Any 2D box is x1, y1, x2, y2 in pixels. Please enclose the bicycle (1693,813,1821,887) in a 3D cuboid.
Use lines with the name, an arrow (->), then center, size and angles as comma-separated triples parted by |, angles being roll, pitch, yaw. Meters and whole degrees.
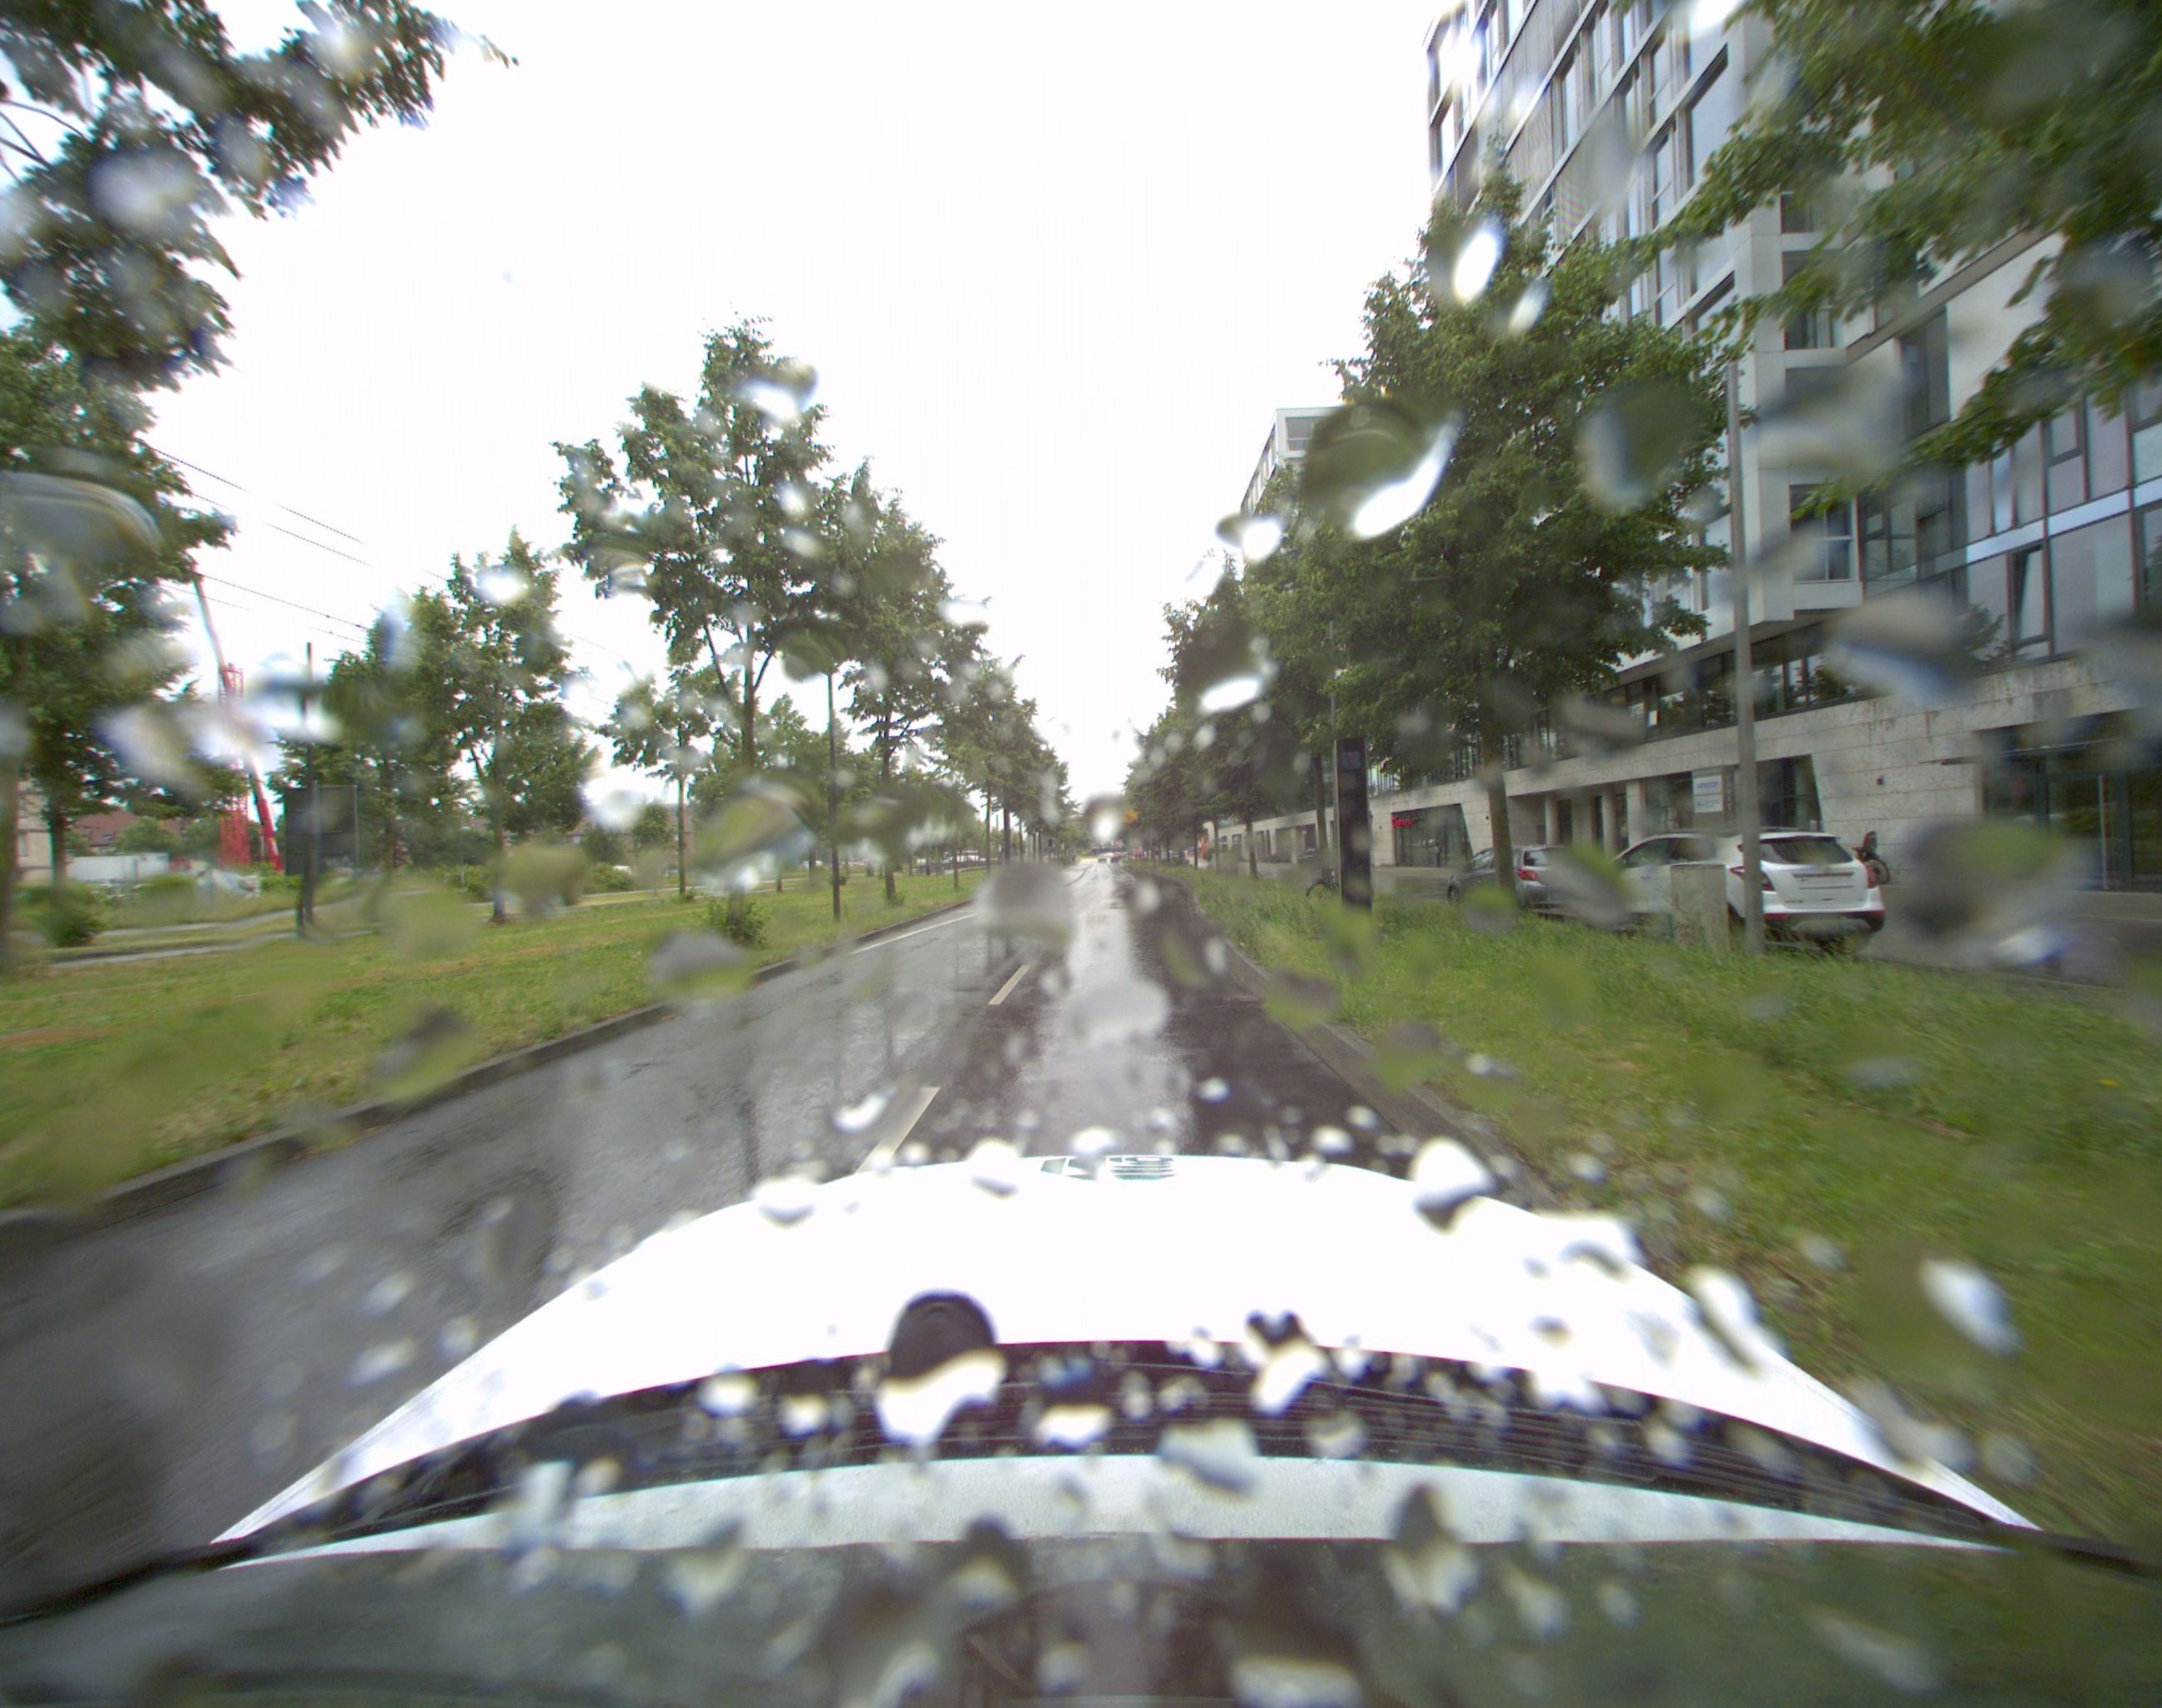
bicycle -> 18.181, -0.112, 21.940 | 2.666, 1.860, 0.708 | -2, 0, 5

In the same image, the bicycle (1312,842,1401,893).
bicycle -> 6.861, 0.330, 20.344 | 2.028, 1.196, 0.491 | -2, -1, 1

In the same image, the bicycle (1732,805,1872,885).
bicycle -> 18.017, -0.224, 20.398 | 2.666, 1.860, 0.708 | -2, 0, 5

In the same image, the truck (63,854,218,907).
truck -> -113.371, 2.973, 98.768 | 6.202, 5.394, 13.226 | -3, 2, -19

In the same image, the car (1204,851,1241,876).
car -> 9.983, 0.626, 57.718 | 1.874, 1.505, 4.726 | -2, 2, 1

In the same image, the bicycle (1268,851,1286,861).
bicycle -> 20.126, 0.200, 83.644 | 1.799, 1.028, 0.541 | -2, -1, 3

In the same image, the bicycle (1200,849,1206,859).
bicycle -> 20.869, -0.055, 139.735 | 0.664, 1.534, 2.765 | -2, 2, 1

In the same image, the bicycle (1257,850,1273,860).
bicycle -> 20.153, 0.147, 89.166 | 1.686, 1.028, 0.423 | -2, -1, 3

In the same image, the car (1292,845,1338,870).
car -> 16.863, 0.223, 58.850 | 1.985, 1.501, 5.039 | -7, 1, 3

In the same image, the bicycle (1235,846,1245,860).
bicycle -> 20.825, -0.163, 106.752 | 0.769, 1.722, 3.121 | -2, 2, 1

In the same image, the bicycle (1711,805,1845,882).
bicycle -> 18.076, -0.260, 21.164 | 2.666, 1.860, 0.708 | -2, 0, 5

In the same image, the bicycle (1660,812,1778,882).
bicycle -> 18.364, -0.199, 23.470 | 2.666, 1.860, 0.708 | -2, 0, 5

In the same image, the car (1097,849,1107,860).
car -> 4.501, 0.128, 173.635 | 1.881, 2.013, 4.002 | -2, 2, 2

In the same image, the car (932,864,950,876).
car -> -18.084, 2.003, 105.422 | 1.544, 1.266, 4.851 | -2, 1, -1

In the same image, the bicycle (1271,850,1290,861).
bicycle -> 20.157, 0.183, 82.364 | 1.799, 1.028, 0.402 | -2, -1, 3

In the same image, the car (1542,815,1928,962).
car -> 9.094, 0.321, 12.009 | 1.986, 1.669, 4.726 | -2, 2, 1

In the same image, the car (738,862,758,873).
car -> -65.777, 2.674, 160.905 | 1.987, 2.013, 4.001 | -2, 2, 1

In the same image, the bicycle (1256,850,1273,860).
bicycle -> 20.182, 0.151, 89.649 | 1.686, 1.028, 0.423 | -2, -1, 3

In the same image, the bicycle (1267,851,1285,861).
bicycle -> 20.172, 0.203, 84.251 | 1.799, 1.028, 0.541 | -2, -1, 3

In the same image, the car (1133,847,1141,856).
car -> 14.026, -0.604, 204.776 | 1.985, 2.013, 4.003 | -2, 2, 2

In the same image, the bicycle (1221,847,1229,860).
bicycle -> 20.562, -0.075, 116.547 | 0.642, 1.722, 3.121 | -2, 2, 1

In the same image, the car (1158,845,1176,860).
car -> 11.206, -0.196, 106.574 | 1.899, 1.791, 4.689 | -2, 0, 1

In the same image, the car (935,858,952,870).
car -> -17.778, 1.347, 105.424 | 1.484, 1.298, 4.972 | -3, -2, -2

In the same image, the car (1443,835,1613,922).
car -> 9.122, 0.420, 16.968 | 1.619, 1.490, 3.657 | -2, 2, 2

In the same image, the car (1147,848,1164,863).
car -> 11.419, 0.214, 125.288 | 2.113, 2.274, 4.565 | -2, 0, 1

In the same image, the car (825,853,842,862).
car -> -58.122, 0.855, 191.255 | 3.547, 1.738, 1.693 | -3, 2, -23

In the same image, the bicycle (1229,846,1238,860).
bicycle -> 20.051, -0.152, 107.212 | 0.642, 1.722, 3.121 | -2, 2, 1

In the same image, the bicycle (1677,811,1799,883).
bicycle -> 18.293, -0.183, 22.725 | 2.666, 1.860, 0.708 | -2, 0, 5

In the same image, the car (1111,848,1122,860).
car -> 6.748, 0.036, 154.551 | 1.933, 2.013, 4.002 | -2, 2, 2
